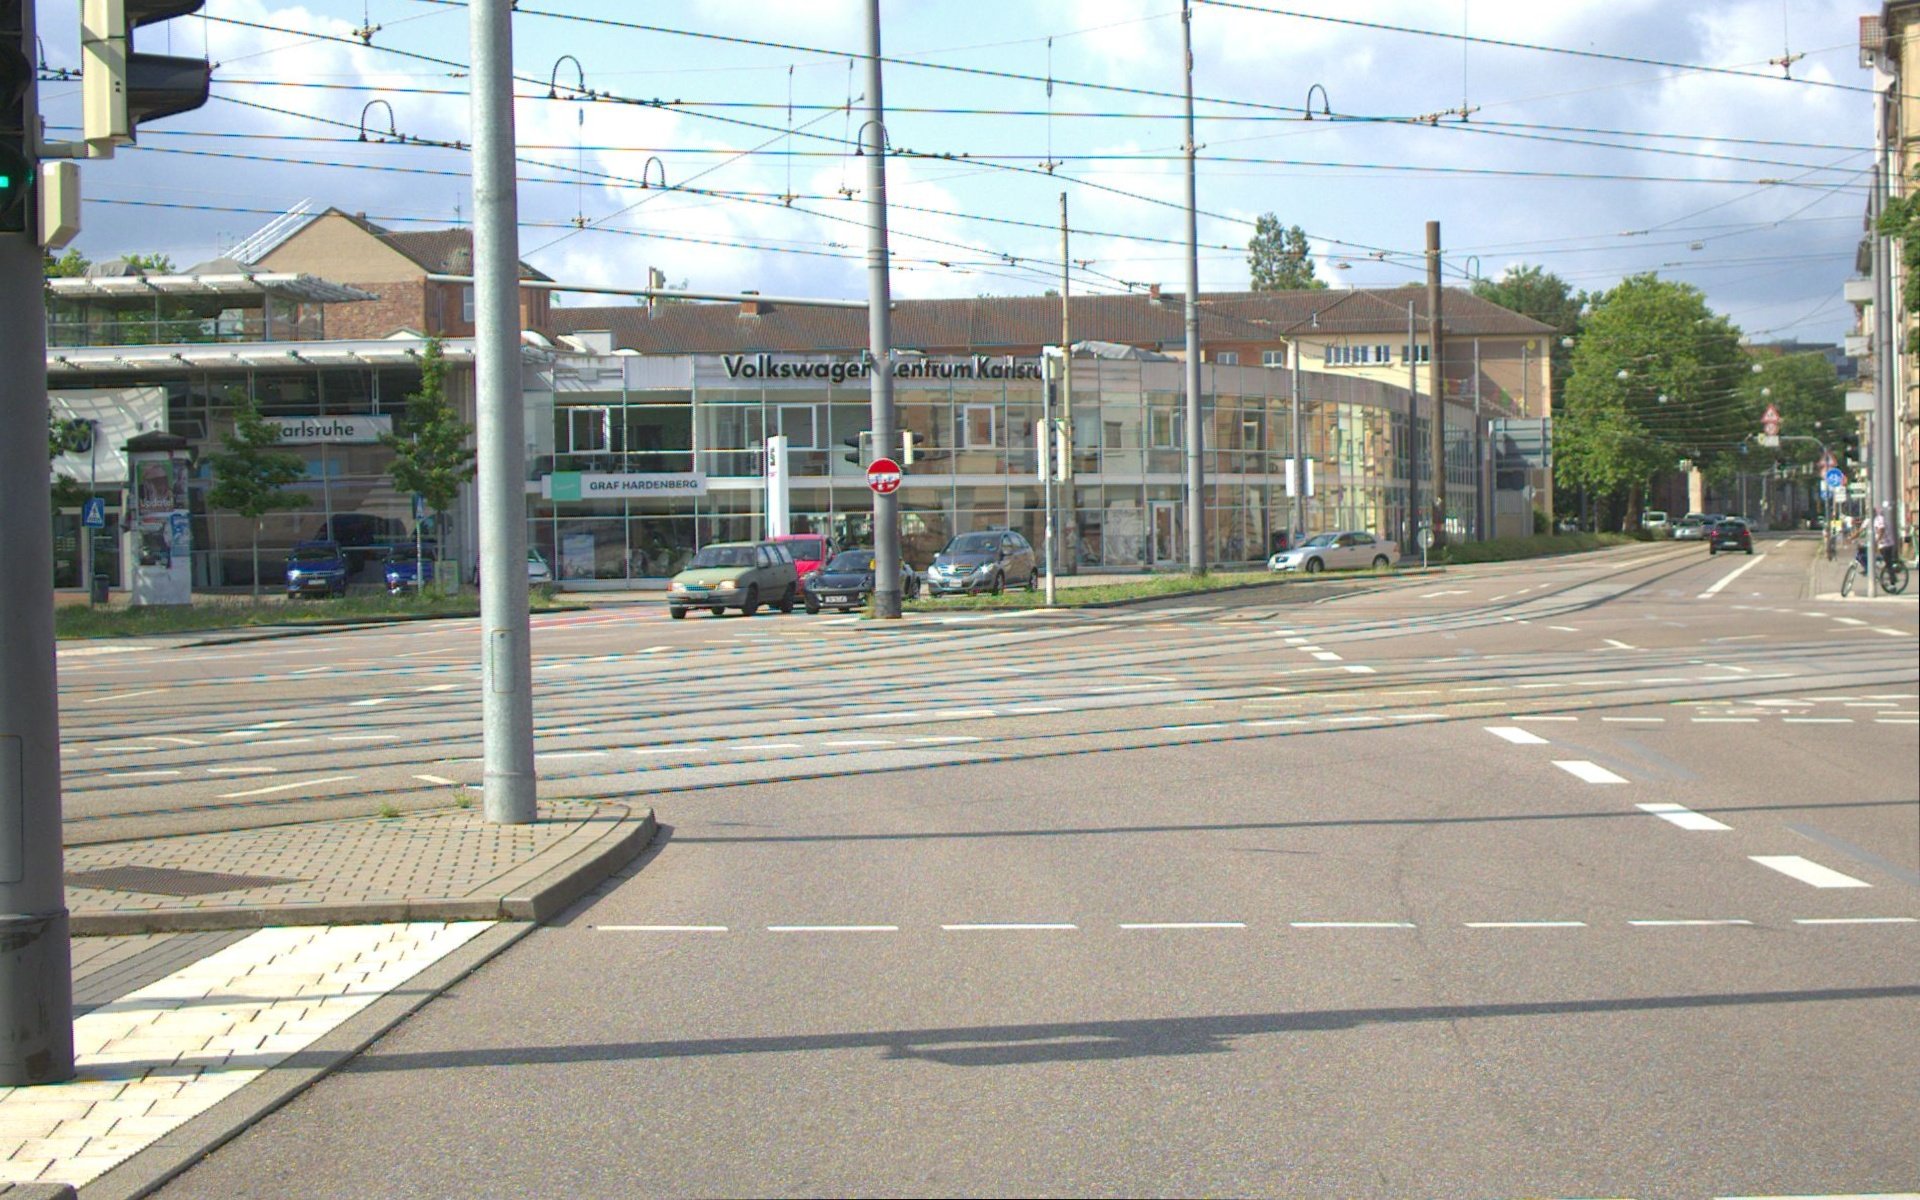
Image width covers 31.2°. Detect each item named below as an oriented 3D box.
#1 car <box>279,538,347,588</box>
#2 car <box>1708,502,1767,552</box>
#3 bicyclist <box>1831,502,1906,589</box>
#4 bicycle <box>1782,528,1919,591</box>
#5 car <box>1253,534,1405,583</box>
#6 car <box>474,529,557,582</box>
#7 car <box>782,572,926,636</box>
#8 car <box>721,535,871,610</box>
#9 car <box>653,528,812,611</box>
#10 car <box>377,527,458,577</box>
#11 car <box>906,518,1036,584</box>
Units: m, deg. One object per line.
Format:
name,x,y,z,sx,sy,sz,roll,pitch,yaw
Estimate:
car,-19.319,-1.130,102.757,1.919,1.440,4.001,-1,1,-10
car,32.348,-3.055,142.973,1.995,2.007,3.997,-1,1,18
bicyclist,17.579,-1.053,66.532,1.193,1.652,0.786,-1,1,-7
bicycle,17.367,-0.792,66.534,2.671,1.166,0.901,-1,1,-7
car,11.625,-1.305,108.228,4.466,1.459,1.782,1,1,-25
car,-13.446,-1.371,104.221,1.919,1.546,4.000,-1,1,1
car,-1.979,0.056,65.561,1.622,1.157,3.997,1,1,15
car,-3.402,-0.580,72.159,1.995,1.514,3.997,1,1,15
car,-4.327,-0.582,65.940,1.822,1.508,3.997,1,1,15
car,-16.085,-1.437,102.060,1.919,1.440,4.001,-1,1,-3
car,0.287,-1.202,83.667,1.995,1.546,3.997,-1,1,18
